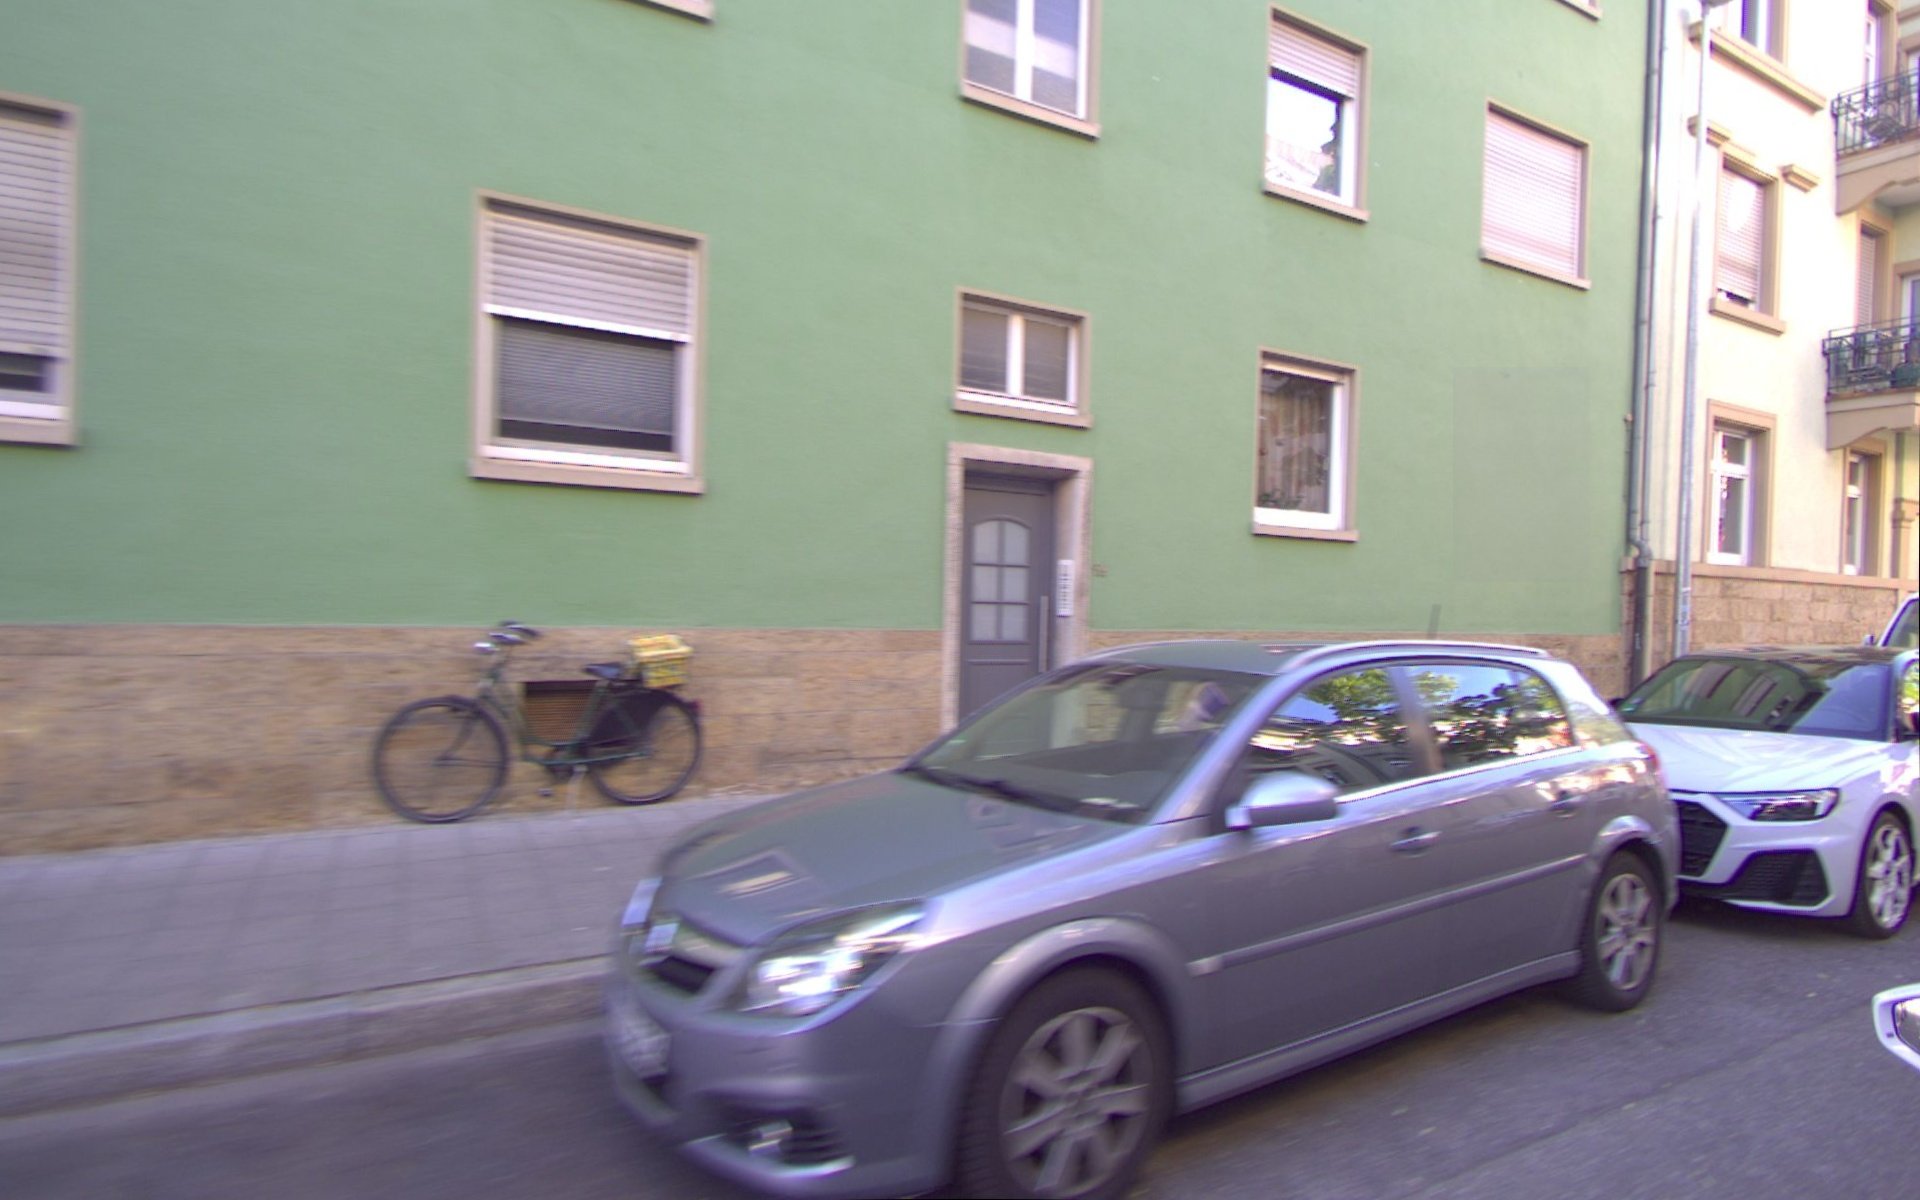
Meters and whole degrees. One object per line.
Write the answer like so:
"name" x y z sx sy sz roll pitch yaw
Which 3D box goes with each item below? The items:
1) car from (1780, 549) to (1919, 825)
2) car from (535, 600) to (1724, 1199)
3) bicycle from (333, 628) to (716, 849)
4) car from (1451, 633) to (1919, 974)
"car" 9.989 0.753 9.196 5.184 2.197 2.240 2 -2 -31
"car" 0.916 0.825 3.821 4.457 1.481 1.711 2 -3 -32
"bicycle" -2.469 0.747 5.837 1.946 1.090 0.484 2 4 -30
"car" 5.232 0.968 6.271 4.312 1.481 1.824 2 -2 -30
